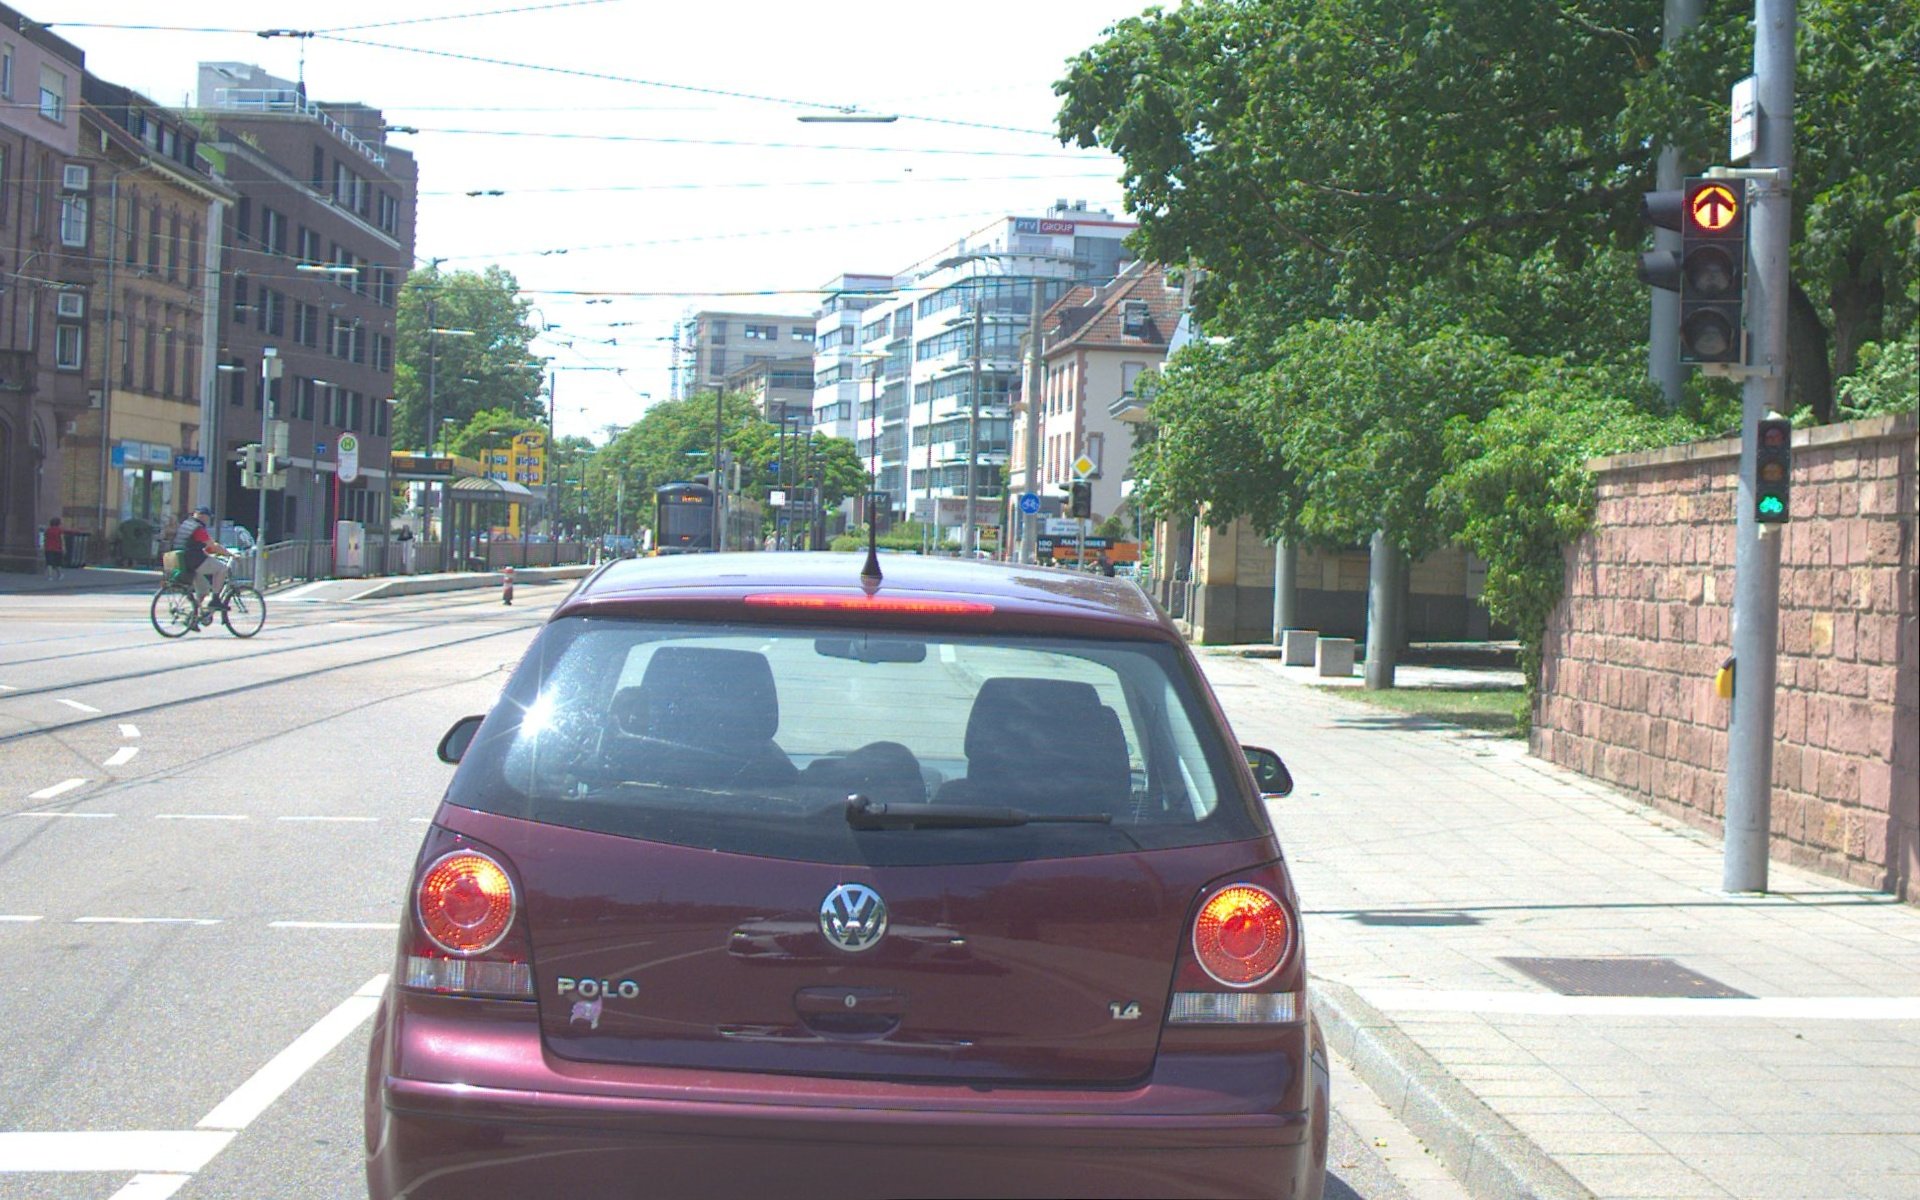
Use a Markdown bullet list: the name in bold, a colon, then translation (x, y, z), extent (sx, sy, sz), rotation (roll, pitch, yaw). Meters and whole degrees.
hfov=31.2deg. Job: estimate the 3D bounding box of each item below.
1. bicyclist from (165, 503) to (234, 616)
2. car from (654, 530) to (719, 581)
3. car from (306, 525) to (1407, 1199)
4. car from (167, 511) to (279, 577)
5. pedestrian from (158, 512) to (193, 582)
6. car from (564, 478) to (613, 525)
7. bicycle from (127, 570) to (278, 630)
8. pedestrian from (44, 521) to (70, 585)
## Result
- **bicyclist**: translation (-10.194, -0.544, 46.065), extent (0.750, 1.496, 0.482), rotation (1, 0, -40)
- **car**: translation (-9.196, -1.485, 115.992), extent (1.938, 1.635, 4.000), rotation (1, 0, -1)
- **car**: translation (-0.229, 0.611, 7.190), extent (1.610, 1.458, 4.086), rotation (2, 1, -2)
- **car**: translation (-17.468, -1.330, 81.628), extent (1.689, 1.457, 4.000), rotation (2, 1, 1)
- **pedestrian**: translation (-20.254, -1.366, 88.773), extent (0.662, 1.781, 0.815), rotation (2, 1, -1)
- **car**: translation (-16.577, -4.386, 153.361), extent (1.735, 2.007, 4.000), rotation (2, 1, -1)
- **bicycle**: translation (-10.151, 0.001, 46.122), extent (1.981, 0.780, 0.466), rotation (1, 0, -40)
- **pedestrian**: translation (-21.942, -1.144, 83.564), extent (0.483, 1.535, 0.538), rotation (1, 0, -3)
